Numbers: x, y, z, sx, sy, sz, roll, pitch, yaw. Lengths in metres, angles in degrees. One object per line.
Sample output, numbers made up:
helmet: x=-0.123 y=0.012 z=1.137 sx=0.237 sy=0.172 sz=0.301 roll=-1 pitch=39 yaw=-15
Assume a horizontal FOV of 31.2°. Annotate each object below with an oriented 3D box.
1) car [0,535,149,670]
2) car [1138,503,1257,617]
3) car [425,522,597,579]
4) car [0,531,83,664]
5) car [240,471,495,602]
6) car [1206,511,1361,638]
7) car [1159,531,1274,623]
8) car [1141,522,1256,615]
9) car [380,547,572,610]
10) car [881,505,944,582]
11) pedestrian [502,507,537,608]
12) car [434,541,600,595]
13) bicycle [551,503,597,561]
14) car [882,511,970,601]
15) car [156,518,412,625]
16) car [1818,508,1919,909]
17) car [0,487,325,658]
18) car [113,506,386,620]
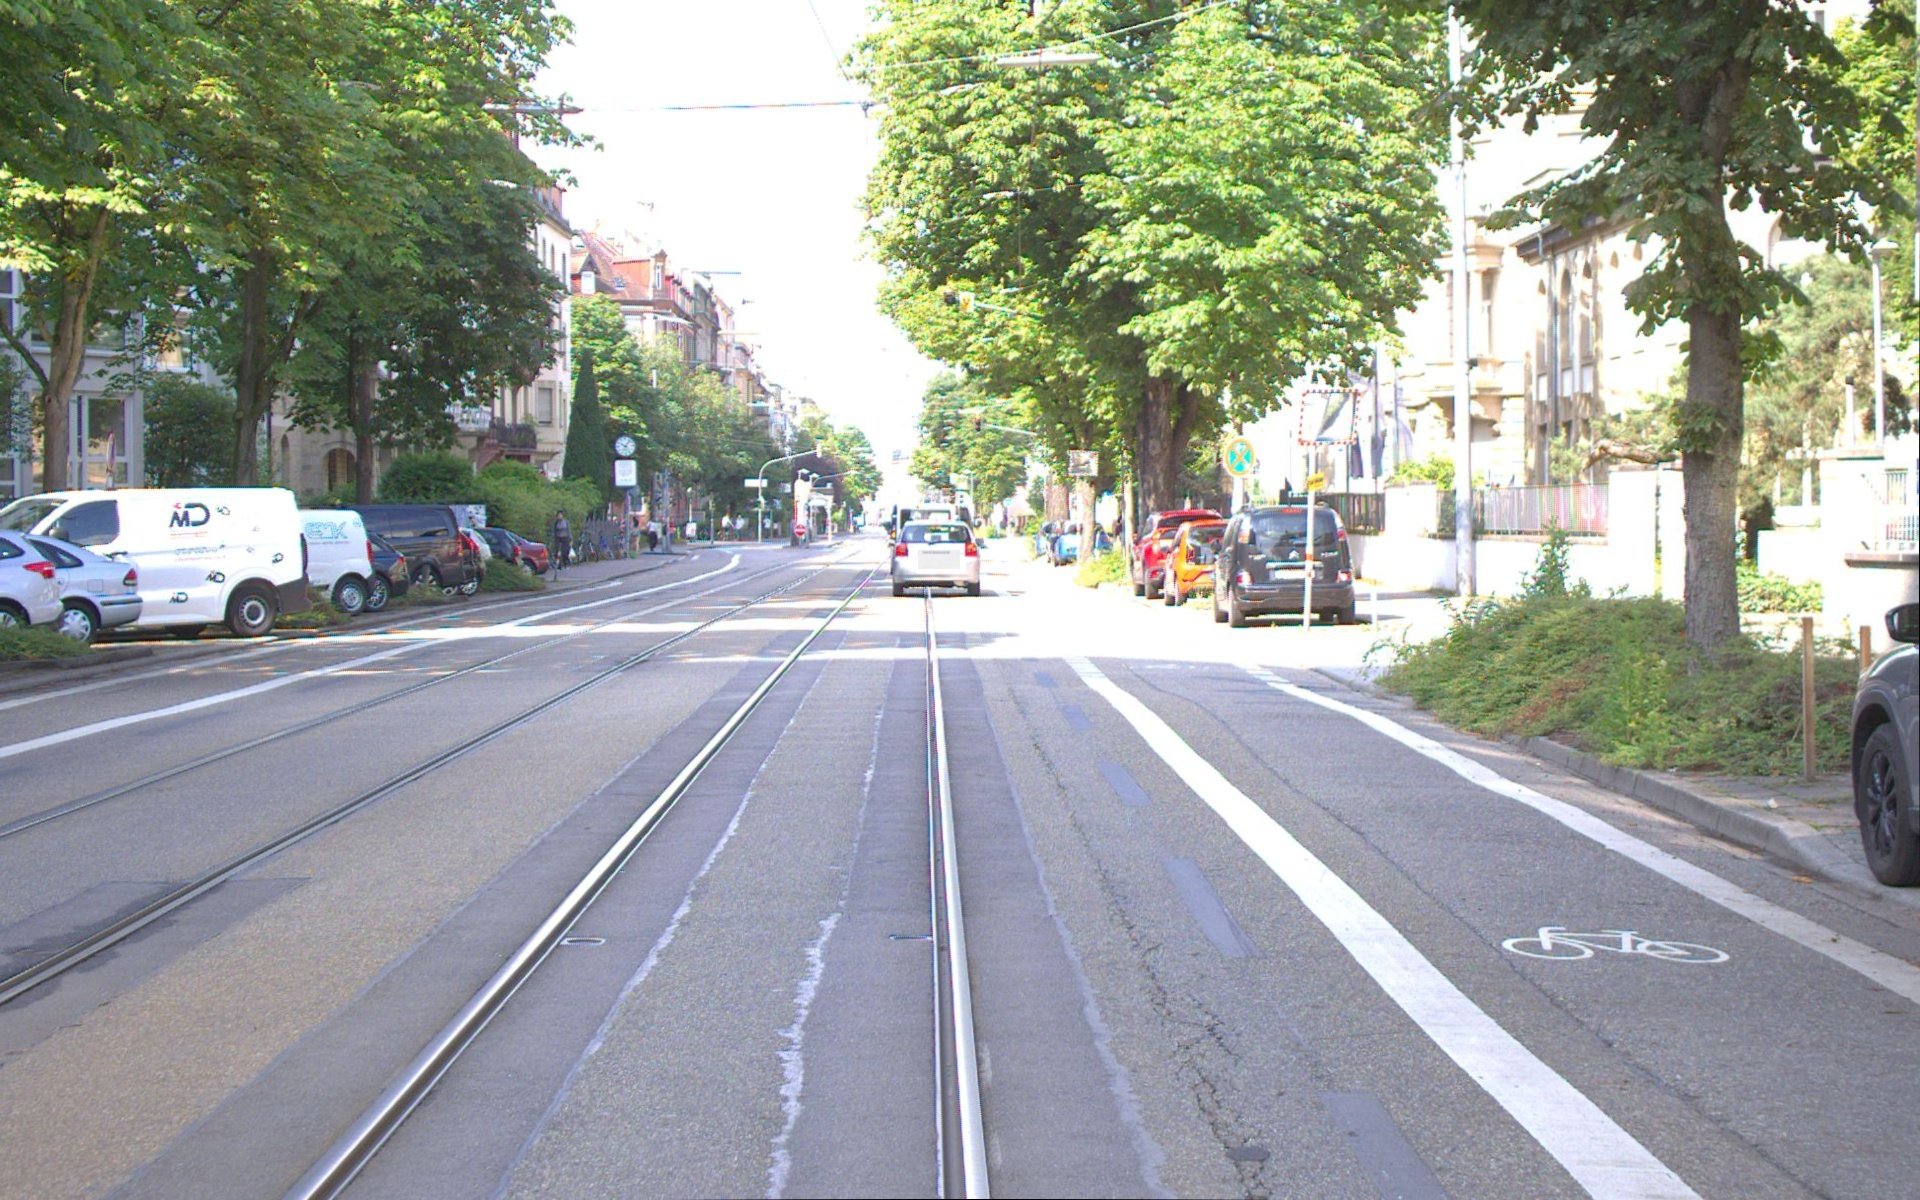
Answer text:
car: x=-11.562 y=0.064 z=39.911 sx=3.774 sy=1.470 sz=1.725 roll=-4 pitch=2 yaw=-43
car: x=4.020 y=-0.714 z=58.524 sx=1.674 sy=1.605 sz=3.586 roll=-2 pitch=5 yaw=-1
car: x=-10.717 y=-1.182 z=82.130 sx=3.775 sy=1.302 sz=1.638 roll=0 pitch=0 yaw=-39
car: x=-11.723 y=-0.035 z=36.468 sx=1.739 sy=1.421 sz=4.450 roll=0 pitch=0 yaw=43
car: x=-10.849 y=-1.149 z=63.162 sx=1.882 sy=2.074 sz=4.193 roll=4 pitch=0 yaw=44
car: x=4.382 y=-0.382 z=46.990 sx=1.674 sy=1.606 sz=3.585 roll=-2 pitch=2 yaw=-1
car: x=4.334 y=-0.397 z=58.511 sx=1.667 sy=1.481 sz=3.279 roll=-1 pitch=1 yaw=0
car: x=4.516 y=-0.607 z=65.600 sx=1.960 sy=1.700 sz=4.000 roll=1 pitch=1 yaw=1
car: x=-10.420 y=-0.453 z=74.168 sx=3.775 sy=1.302 sz=1.638 roll=0 pitch=0 yaw=-39
car: x=-1.257 y=-1.487 z=91.515 sx=1.621 sy=1.993 sz=3.565 roll=1 pitch=1 yaw=-1
pedestrian: x=-8.864 y=-0.854 z=69.195 sx=0.616 sy=2.007 sz=0.501 roll=1 pitch=0 yaw=-1
car: x=-11.016 y=-0.788 z=85.589 sx=3.775 sy=1.302 sz=1.638 roll=0 pitch=0 yaw=-39
bicycle: x=-11.908 y=-2.087 z=106.022 sx=0.938 sy=1.740 sz=2.284 roll=1 pitch=0 yaw=5
car: x=-0.654 y=-0.841 z=66.190 sx=1.621 sy=1.678 sz=3.565 roll=1 pitch=1 yaw=-1
car: x=-11.169 y=-0.461 z=56.944 sx=1.882 sy=1.706 sz=3.749 roll=1 pitch=1 yaw=44
car: x=4.737 y=0.451 z=13.096 sx=1.765 sy=1.601 sz=4.459 roll=-1 pitch=2 yaw=-1
car: x=-10.672 y=-0.381 z=43.865 sx=4.630 sy=1.905 sz=1.931 roll=-5 pitch=3 yaw=-42
car: x=-11.065 y=-0.571 z=53.676 sx=1.882 sy=1.706 sz=3.749 roll=1 pitch=1 yaw=44
